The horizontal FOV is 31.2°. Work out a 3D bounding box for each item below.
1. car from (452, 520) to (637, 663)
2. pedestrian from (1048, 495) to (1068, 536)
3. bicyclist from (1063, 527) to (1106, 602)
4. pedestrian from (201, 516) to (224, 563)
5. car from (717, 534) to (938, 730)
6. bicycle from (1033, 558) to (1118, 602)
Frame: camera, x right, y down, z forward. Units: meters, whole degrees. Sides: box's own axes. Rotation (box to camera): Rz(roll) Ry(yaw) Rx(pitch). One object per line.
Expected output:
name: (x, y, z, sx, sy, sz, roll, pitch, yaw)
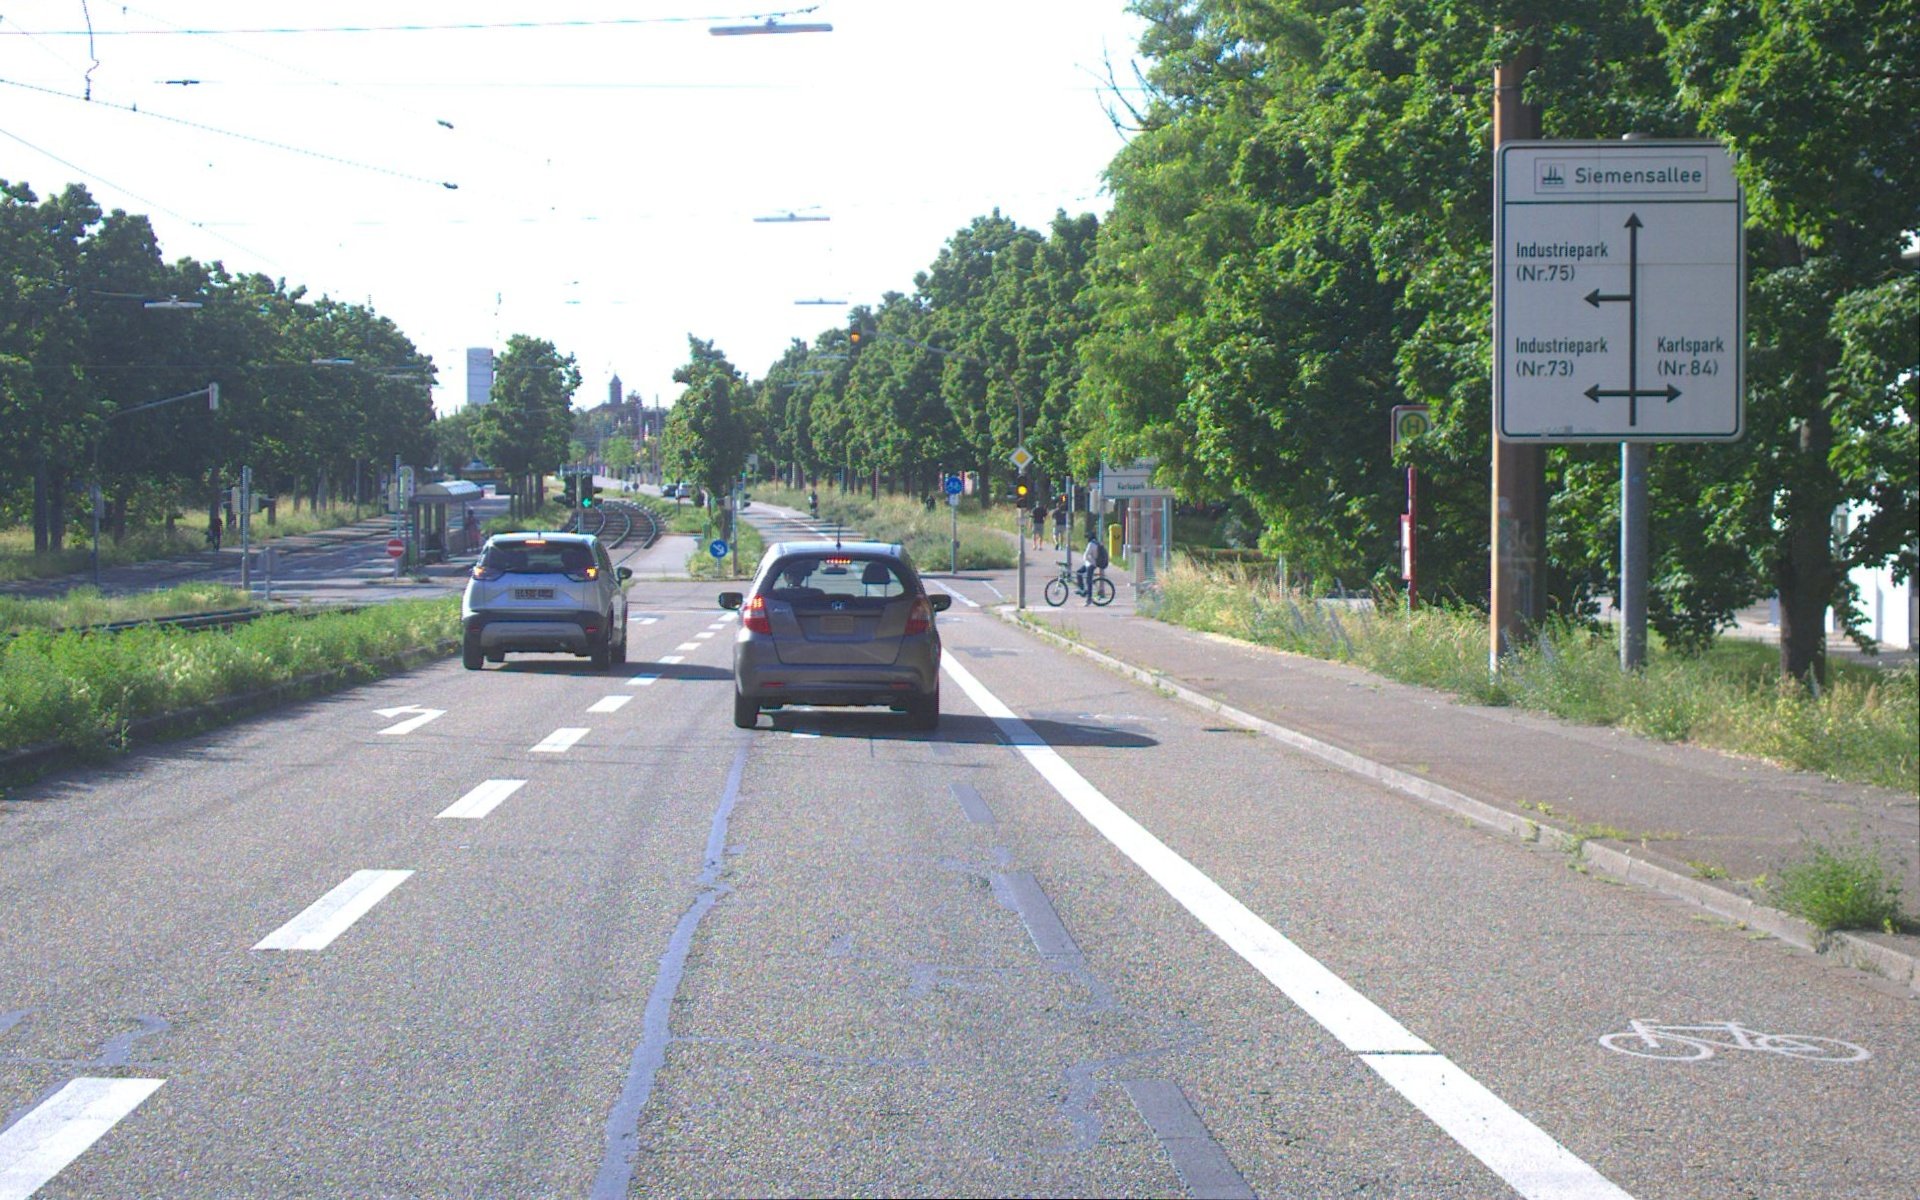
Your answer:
car: (-4.936, -0.130, 41.309, 1.850, 1.601, 4.255, 1, 1, -2)
pedestrian: (3.843, -3.328, 135.069, 0.678, 1.604, 0.721, 2, 1, -4)
bicyclist: (2.931, -0.837, 80.994, 0.910, 1.739, 0.764, -1, 0, 9)
pedestrian: (-32.373, -2.609, 148.868, 0.839, 2.007, 0.863, 1, 1, -3)
car: (-1.085, 0.217, 29.137, 1.707, 1.503, 4.000, 1, 1, -1)
bicycle: (2.726, -0.466, 81.033, 1.920, 0.994, 0.764, -1, 0, 9)
